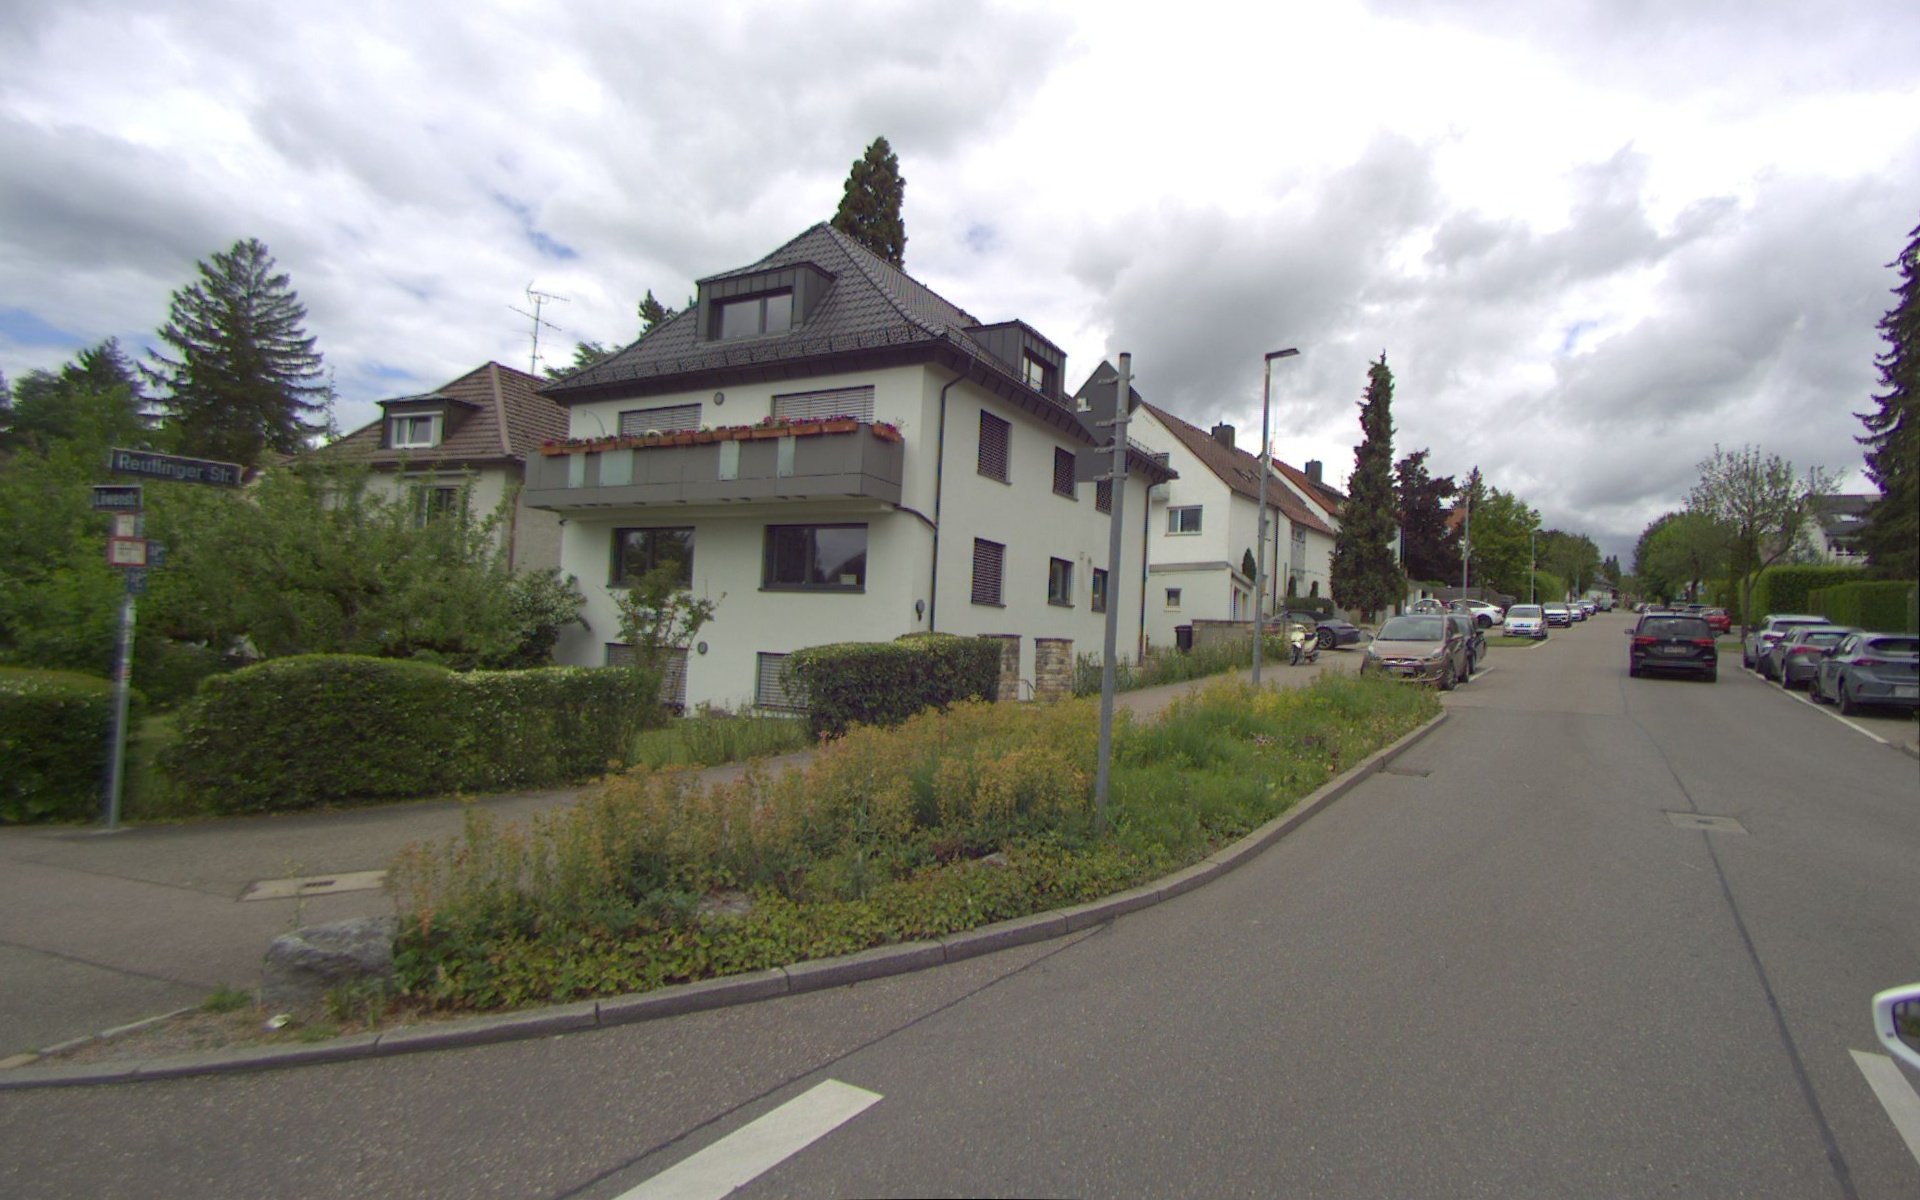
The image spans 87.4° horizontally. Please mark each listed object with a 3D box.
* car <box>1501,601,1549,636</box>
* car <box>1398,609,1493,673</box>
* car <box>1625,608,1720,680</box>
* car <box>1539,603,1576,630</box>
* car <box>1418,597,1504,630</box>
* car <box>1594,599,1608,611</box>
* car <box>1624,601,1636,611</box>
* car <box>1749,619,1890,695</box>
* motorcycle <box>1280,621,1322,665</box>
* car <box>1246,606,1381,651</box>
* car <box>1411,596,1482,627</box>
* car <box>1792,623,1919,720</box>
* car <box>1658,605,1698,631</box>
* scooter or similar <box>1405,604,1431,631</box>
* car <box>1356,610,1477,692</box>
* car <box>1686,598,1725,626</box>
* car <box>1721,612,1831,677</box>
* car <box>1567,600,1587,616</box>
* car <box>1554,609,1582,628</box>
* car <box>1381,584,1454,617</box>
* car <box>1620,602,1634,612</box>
[{"bbox_3d":[26.682,0.852,47.394,1.736,1.584,3.844,0,0,33],"label":"car"},{"bbox_3d":[13.292,1.054,27.397,1.852,1.557,3.497,1,0,34],"label":"car"},{"bbox_3d":[18.216,1.059,25.787,1.823,1.633,4.297,2,1,34],"label":"car"},{"bbox_3d":[38.861,1.034,65.313,1.813,1.688,4.394,-1,0,34],"label":"car"},{"bbox_3d":[30.169,0.771,60.495,4.350,1.651,1.905,4,2,33],"label":"car"},{"bbox_3d":[100.843,0.755,157.922,1.859,1.875,4.389,0,0,33],"label":"car"},{"bbox_3d":[119.845,1.019,179.677,1.619,1.690,3.461,1,1,29],"label":"car"},{"bbox_3d":[19.960,1.250,23.506,1.828,1.483,4.162,2,1,32],"label":"car"},{"bbox_3d":[9.422,1.182,27.696,0.424,1.176,1.853,0,-1,41],"label":"motorcycle"},{"bbox_3d":[12.367,0.961,35.180,4.222,1.386,1.901,1,1,29],"label":"car"},{"bbox_3d":[27.863,0.641,57.555,3.384,1.532,1.687,4,1,35],"label":"car"},{"bbox_3d":[16.809,1.241,18.403,1.828,1.483,3.990,2,1,32],"label":"car"},{"bbox_3d":[48.421,1.187,67.820,1.966,1.639,4.499,4,2,34],"label":"car"},{"bbox_3d":[20.857,0.802,45.711,1.443,1.164,0.470,1,3,-41],"label":"scooter or similar"},{"bbox_3d":[10.306,1.064,22.525,1.852,1.606,3.860,1,0,34],"label":"car"},{"bbox_3d":[43.784,0.672,59.055,1.638,1.528,3.747,1,1,34],"label":"car"},{"bbox_3d":[22.938,1.179,28.402,1.828,1.603,4.162,2,1,32],"label":"car"},{"bbox_3d":[62.385,0.773,101.580,1.698,1.561,3.991,0,0,31],"label":"car"},{"bbox_3d":[49.045,1.460,80.988,1.812,1.441,4.396,-1,0,33],"label":"car"},{"bbox_3d":[25.304,0.012,55.557,3.384,1.599,1.651,4,1,35],"label":"car"},{"bbox_3d":[107.233,1.095,161.484,1.640,1.521,3.461,1,1,29],"label":"car"}]
